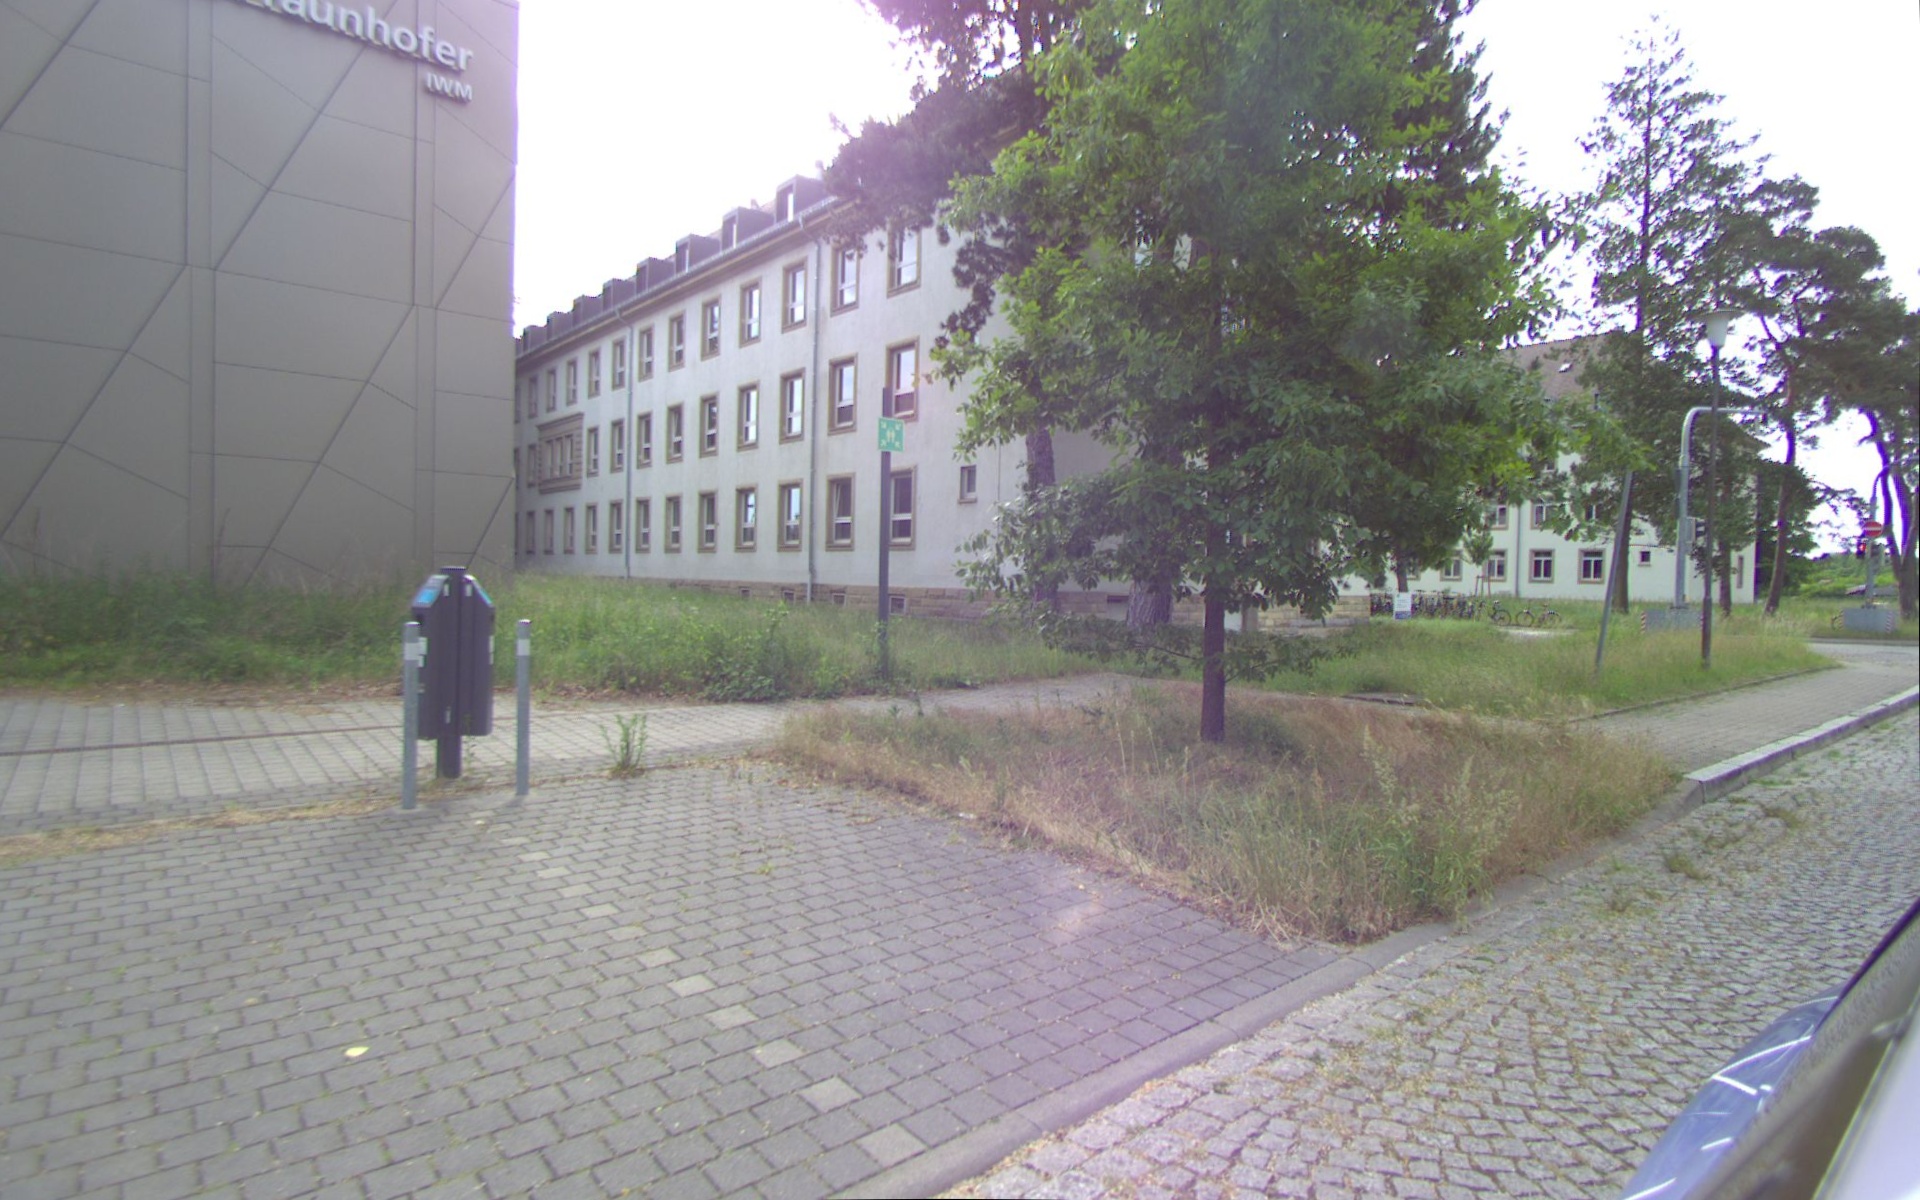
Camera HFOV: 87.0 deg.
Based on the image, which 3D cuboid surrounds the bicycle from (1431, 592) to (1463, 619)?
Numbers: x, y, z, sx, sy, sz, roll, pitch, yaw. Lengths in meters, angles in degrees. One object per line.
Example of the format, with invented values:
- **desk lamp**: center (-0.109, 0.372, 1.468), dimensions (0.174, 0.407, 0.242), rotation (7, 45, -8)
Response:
- **bicycle**: center (21.170, 0.254, 43.979), dimensions (1.668, 1.142, 0.448), rotation (0, 1, -32)

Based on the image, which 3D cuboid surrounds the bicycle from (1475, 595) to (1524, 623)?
- **bicycle**: center (21.838, 0.357, 41.000), dimensions (0.603, 1.099, 1.656), rotation (1, 1, -38)

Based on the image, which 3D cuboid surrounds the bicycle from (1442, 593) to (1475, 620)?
- **bicycle**: center (21.469, 0.278, 43.585), dimensions (1.670, 1.142, 0.477), rotation (0, 1, -32)

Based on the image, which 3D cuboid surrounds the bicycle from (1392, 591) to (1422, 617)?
- **bicycle**: center (20.048, 0.190, 45.412), dimensions (1.699, 1.142, 0.448), rotation (0, 1, -38)

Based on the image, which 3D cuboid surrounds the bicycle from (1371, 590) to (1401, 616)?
- **bicycle**: center (19.450, 0.145, 46.205), dimensions (1.699, 1.142, 0.448), rotation (0, 1, -38)

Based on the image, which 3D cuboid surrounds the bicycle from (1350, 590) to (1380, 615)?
- **bicycle**: center (18.824, 0.124, 47.020), dimensions (1.699, 1.142, 0.448), rotation (0, 1, -38)

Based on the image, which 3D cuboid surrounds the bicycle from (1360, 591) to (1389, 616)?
- **bicycle**: center (19.108, 0.149, 46.622), dimensions (1.699, 1.142, 0.448), rotation (0, 1, -38)

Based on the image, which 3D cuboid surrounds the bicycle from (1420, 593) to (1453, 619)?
- **bicycle**: center (20.912, 0.255, 44.386), dimensions (1.697, 1.142, 0.448), rotation (0, 1, -32)

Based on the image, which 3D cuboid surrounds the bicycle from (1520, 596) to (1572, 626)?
- **bicycle**: center (23.034, 0.428, 39.791), dimensions (0.604, 1.099, 1.653), rotation (0, 1, -43)

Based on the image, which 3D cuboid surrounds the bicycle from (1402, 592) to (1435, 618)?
- **bicycle**: center (20.368, 0.219, 44.962), dimensions (1.697, 1.142, 0.448), rotation (0, 1, -32)

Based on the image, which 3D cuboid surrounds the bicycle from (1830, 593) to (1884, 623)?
- **bicycle**: center (34.219, 0.288, 38.614), dimensions (1.623, 1.099, 0.616), rotation (1, 1, -9)

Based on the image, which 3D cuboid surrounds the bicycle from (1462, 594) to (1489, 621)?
- **bicycle**: center (22.042, 0.308, 43.259), dimensions (1.628, 1.142, 0.476), rotation (0, 1, -42)

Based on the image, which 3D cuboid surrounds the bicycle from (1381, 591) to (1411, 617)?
- **bicycle**: center (19.737, 0.165, 45.816), dimensions (1.699, 1.142, 0.448), rotation (0, 1, -38)
